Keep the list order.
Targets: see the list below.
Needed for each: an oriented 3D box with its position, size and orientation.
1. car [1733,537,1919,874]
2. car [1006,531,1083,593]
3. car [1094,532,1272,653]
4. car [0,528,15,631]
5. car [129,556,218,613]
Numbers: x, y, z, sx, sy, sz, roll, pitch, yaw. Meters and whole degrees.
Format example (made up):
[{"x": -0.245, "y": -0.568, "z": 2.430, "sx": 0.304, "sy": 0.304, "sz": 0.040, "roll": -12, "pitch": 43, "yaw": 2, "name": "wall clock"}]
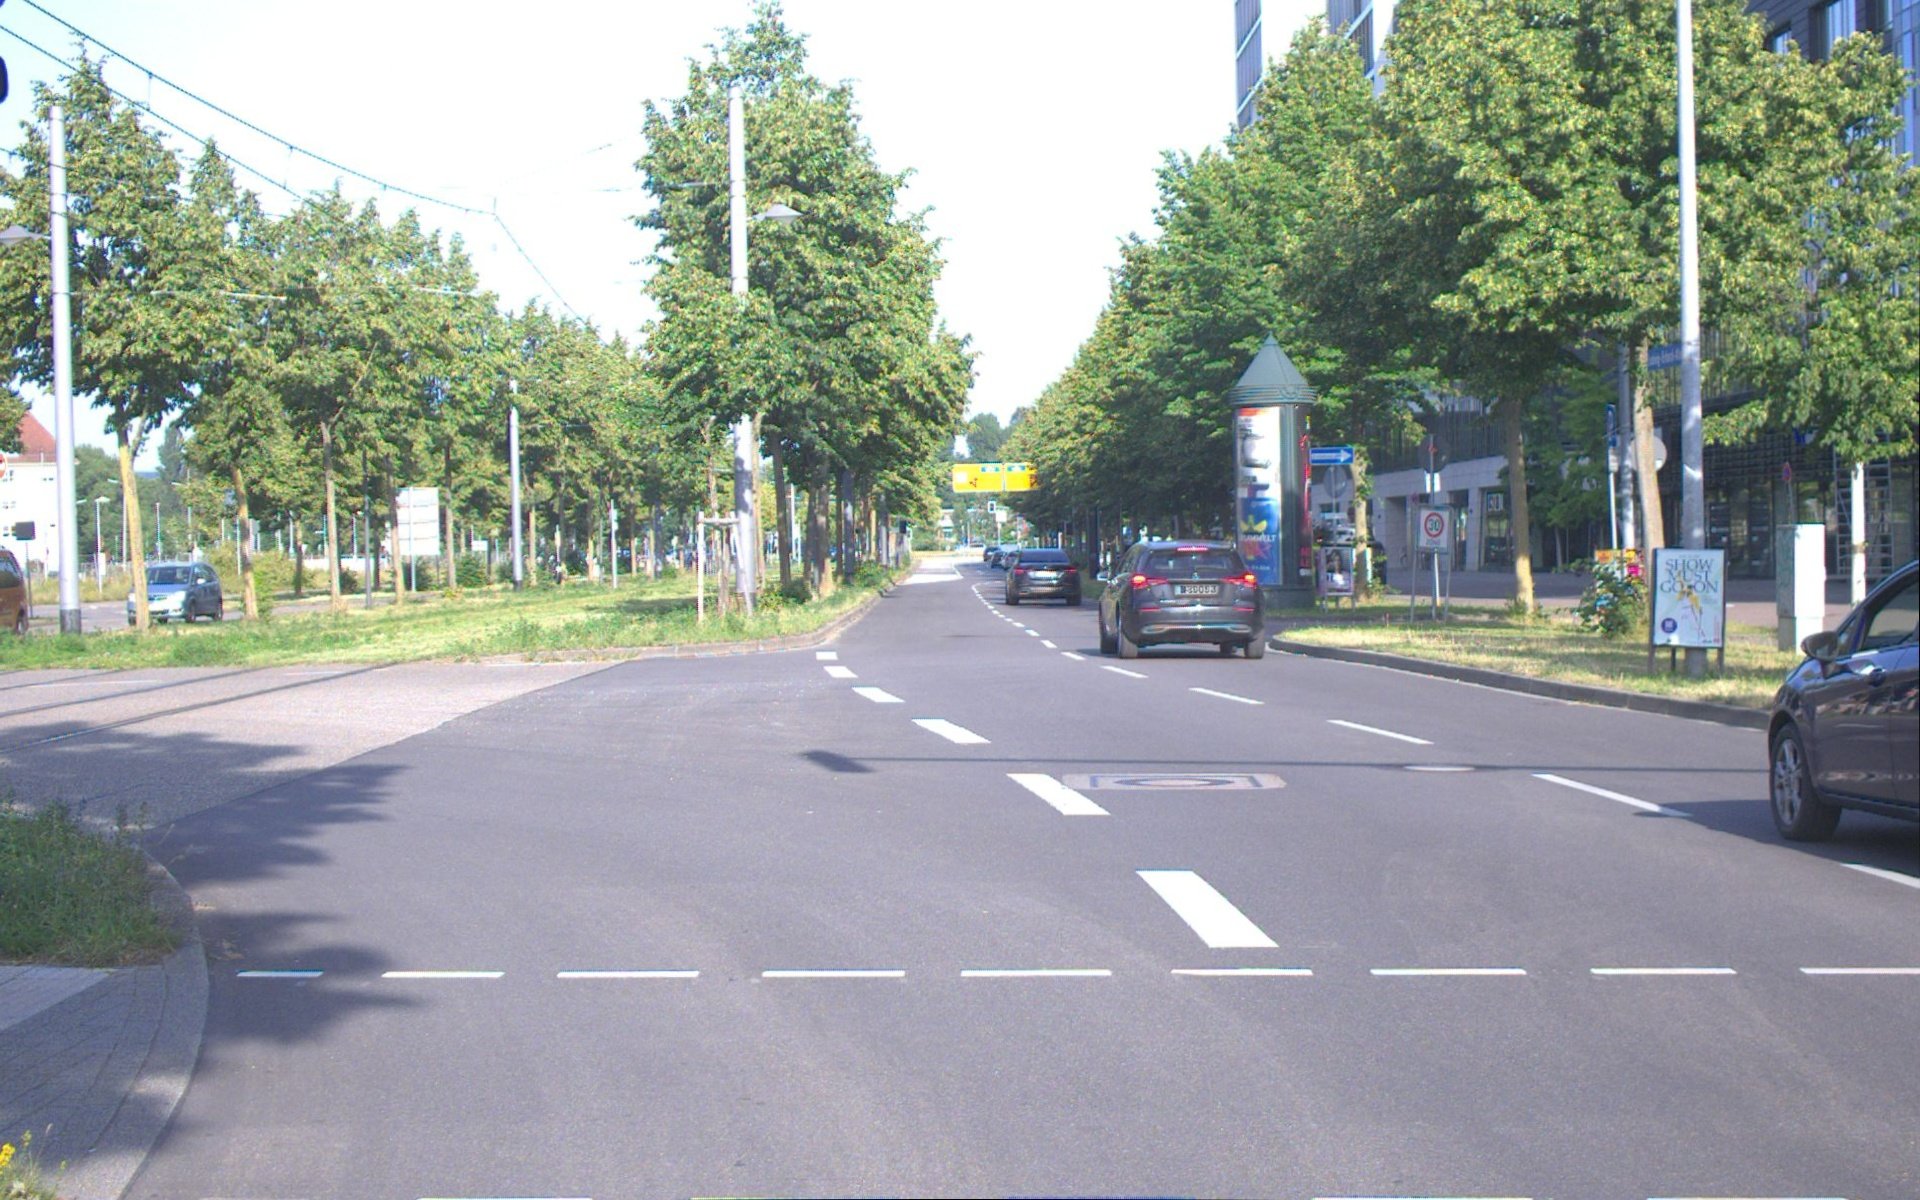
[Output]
[{"x": 4.840, "y": 0.452, "z": 15.428, "sx": 1.560, "sy": 1.419, "sz": 3.908, "roll": 1, "pitch": 1, "yaw": -5, "name": "car"}, {"x": 2.132, "y": -0.964, "z": 87.496, "sx": 1.859, "sy": 1.519, "sz": 3.786, "roll": 1, "pitch": 1, "yaw": 0, "name": "car"}, {"x": 2.729, "y": -0.113, "z": 42.901, "sx": 1.774, "sy": 1.419, "sz": 3.961, "roll": 1, "pitch": 1, "yaw": -3, "name": "car"}, {"x": -17.200, "y": -0.349, "z": 57.980, "sx": 1.684, "sy": 1.769, "sz": 3.883, "roll": 1, "pitch": 1, "yaw": -4, "name": "car"}, {"x": -20.392, "y": -0.420, "z": 89.217, "sx": 1.638, "sy": 1.438, "sz": 3.957, "roll": 1, "pitch": 1, "yaw": -4, "name": "car"}]
